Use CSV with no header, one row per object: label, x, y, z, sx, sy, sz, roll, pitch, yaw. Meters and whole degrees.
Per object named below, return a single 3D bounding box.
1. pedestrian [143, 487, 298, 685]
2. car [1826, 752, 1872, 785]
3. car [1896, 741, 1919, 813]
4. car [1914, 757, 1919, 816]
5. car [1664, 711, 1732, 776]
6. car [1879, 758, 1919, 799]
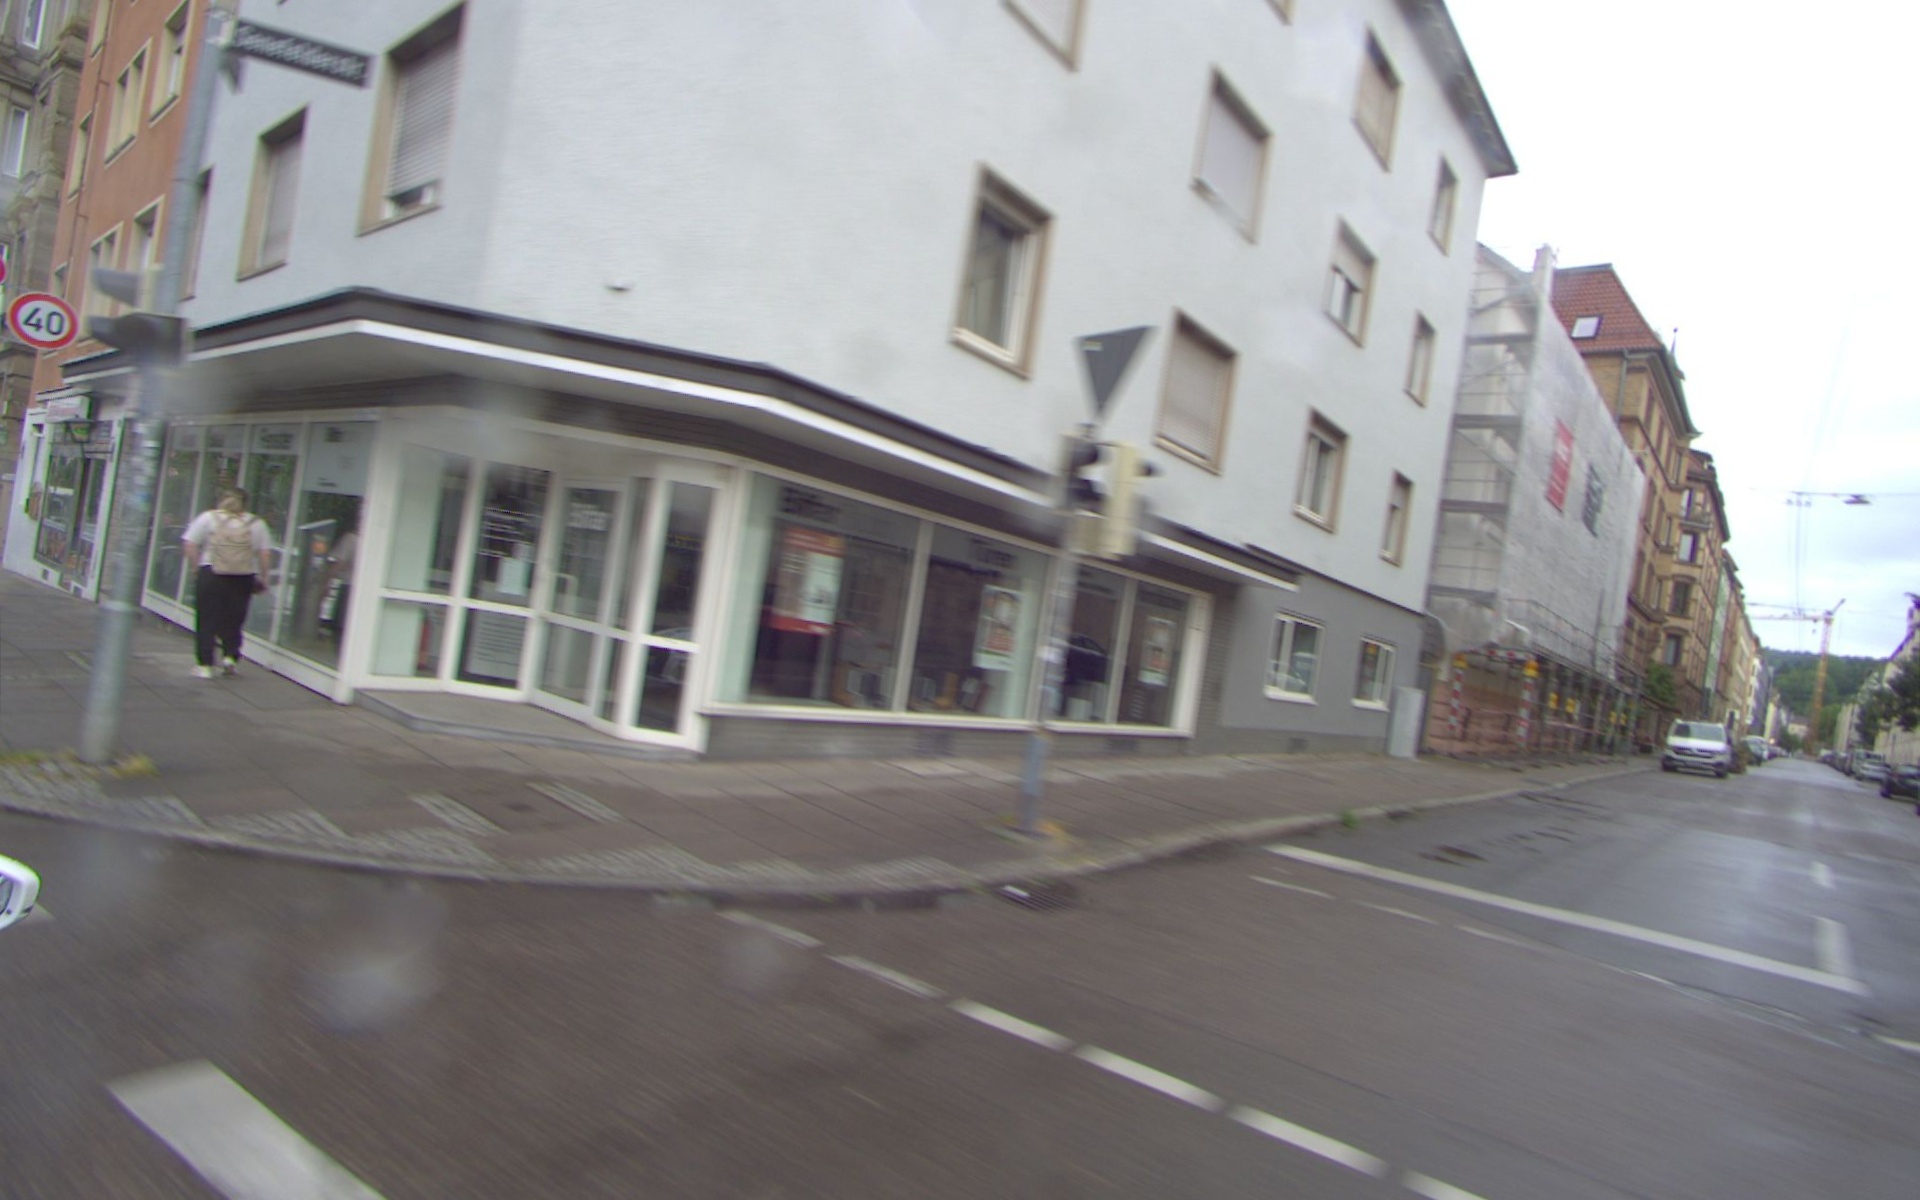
pedestrian,-6.358,-0.111,8.667,0.750,1.590,0.689,5,-1,29
car,44.390,8.395,50.268,1.422,1.336,3.603,4,-3,38
car,31.729,5.778,32.454,1.807,2.191,3.848,4,-3,39
car,27.659,5.304,27.525,1.807,1.632,3.848,4,-3,39
car,27.939,5.389,38.051,1.807,2.095,4.315,4,-3,38
car,37.547,7.083,39.815,1.422,1.336,3.603,4,-3,38
